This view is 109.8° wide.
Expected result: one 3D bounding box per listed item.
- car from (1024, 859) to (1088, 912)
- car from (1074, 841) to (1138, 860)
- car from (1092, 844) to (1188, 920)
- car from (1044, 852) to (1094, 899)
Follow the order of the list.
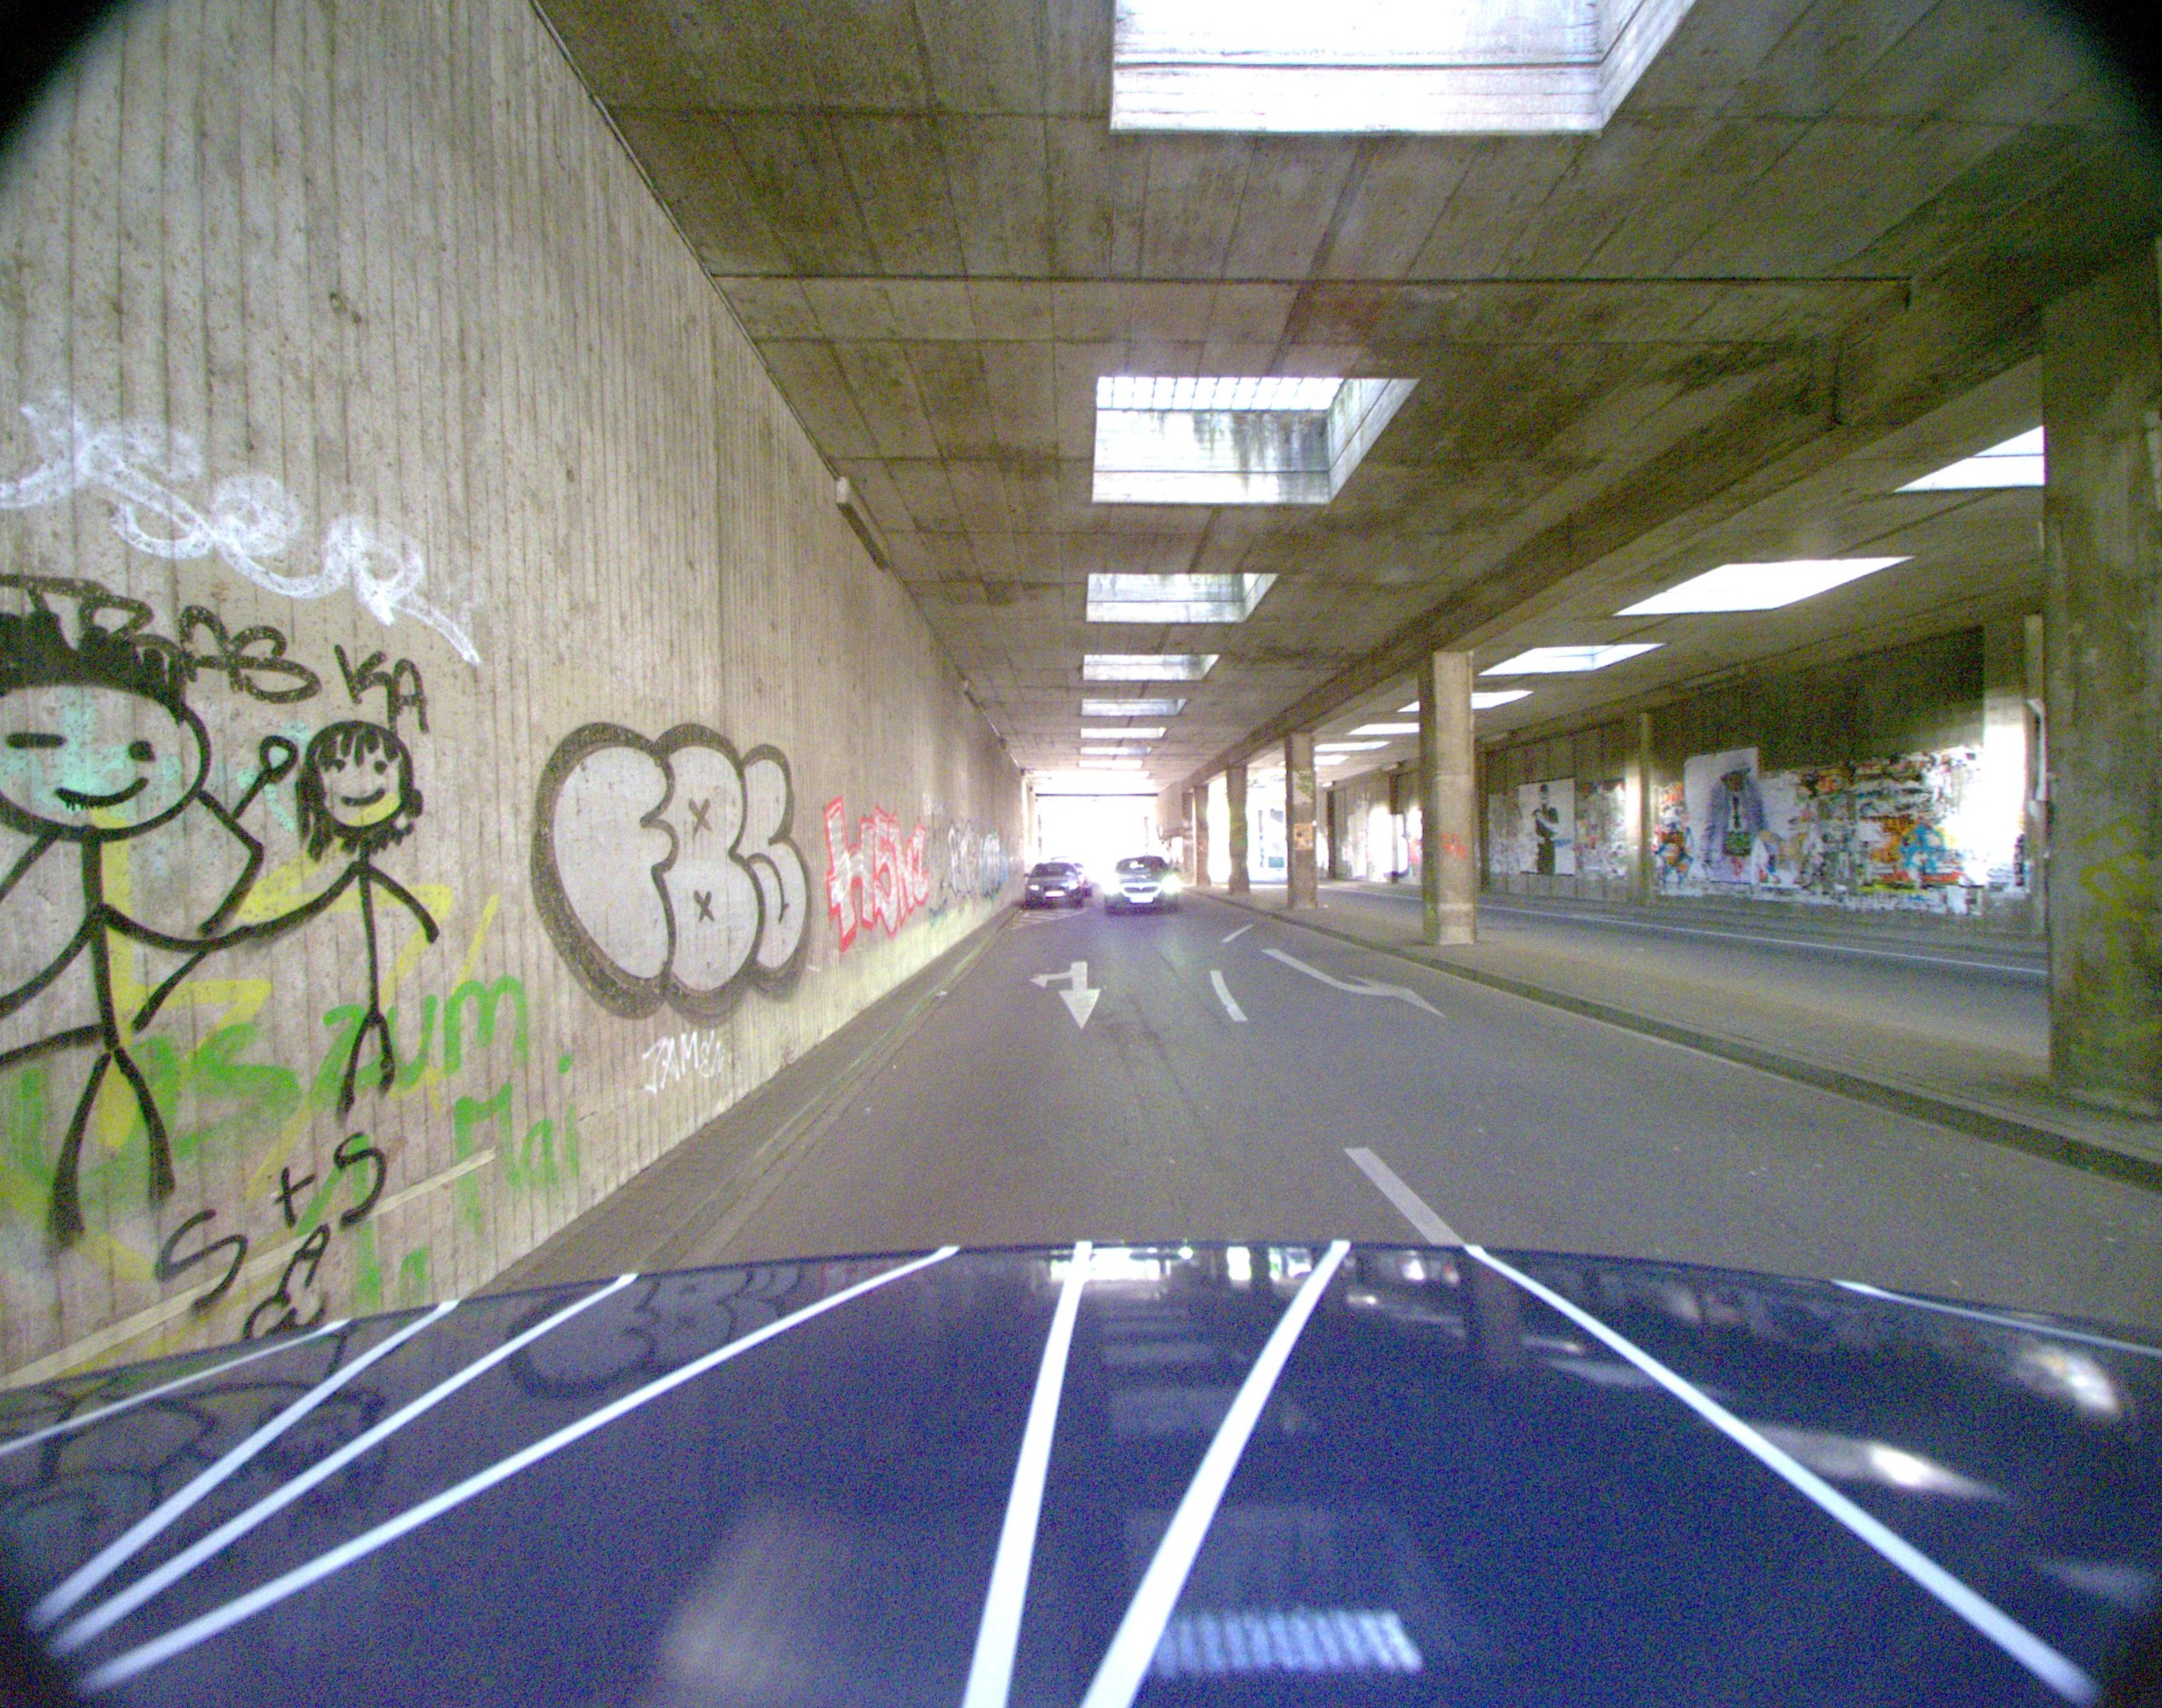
[{"bbox_3d":[-0.696,0.919,23.934,1.767,1.407,3.999,-2,1,1],"label":"car"},{"bbox_3d":[2.602,-0.385,79.214,6.536,1.740,2.000,-2,1,0],"label":"car"},{"bbox_3d":[1.446,0.641,20.573,1.999,1.740,4.858,-2,1,-2],"label":"car"},{"bbox_3d":[-0.513,0.782,29.867,1.767,1.634,3.999,-2,1,-2],"label":"car"}]
